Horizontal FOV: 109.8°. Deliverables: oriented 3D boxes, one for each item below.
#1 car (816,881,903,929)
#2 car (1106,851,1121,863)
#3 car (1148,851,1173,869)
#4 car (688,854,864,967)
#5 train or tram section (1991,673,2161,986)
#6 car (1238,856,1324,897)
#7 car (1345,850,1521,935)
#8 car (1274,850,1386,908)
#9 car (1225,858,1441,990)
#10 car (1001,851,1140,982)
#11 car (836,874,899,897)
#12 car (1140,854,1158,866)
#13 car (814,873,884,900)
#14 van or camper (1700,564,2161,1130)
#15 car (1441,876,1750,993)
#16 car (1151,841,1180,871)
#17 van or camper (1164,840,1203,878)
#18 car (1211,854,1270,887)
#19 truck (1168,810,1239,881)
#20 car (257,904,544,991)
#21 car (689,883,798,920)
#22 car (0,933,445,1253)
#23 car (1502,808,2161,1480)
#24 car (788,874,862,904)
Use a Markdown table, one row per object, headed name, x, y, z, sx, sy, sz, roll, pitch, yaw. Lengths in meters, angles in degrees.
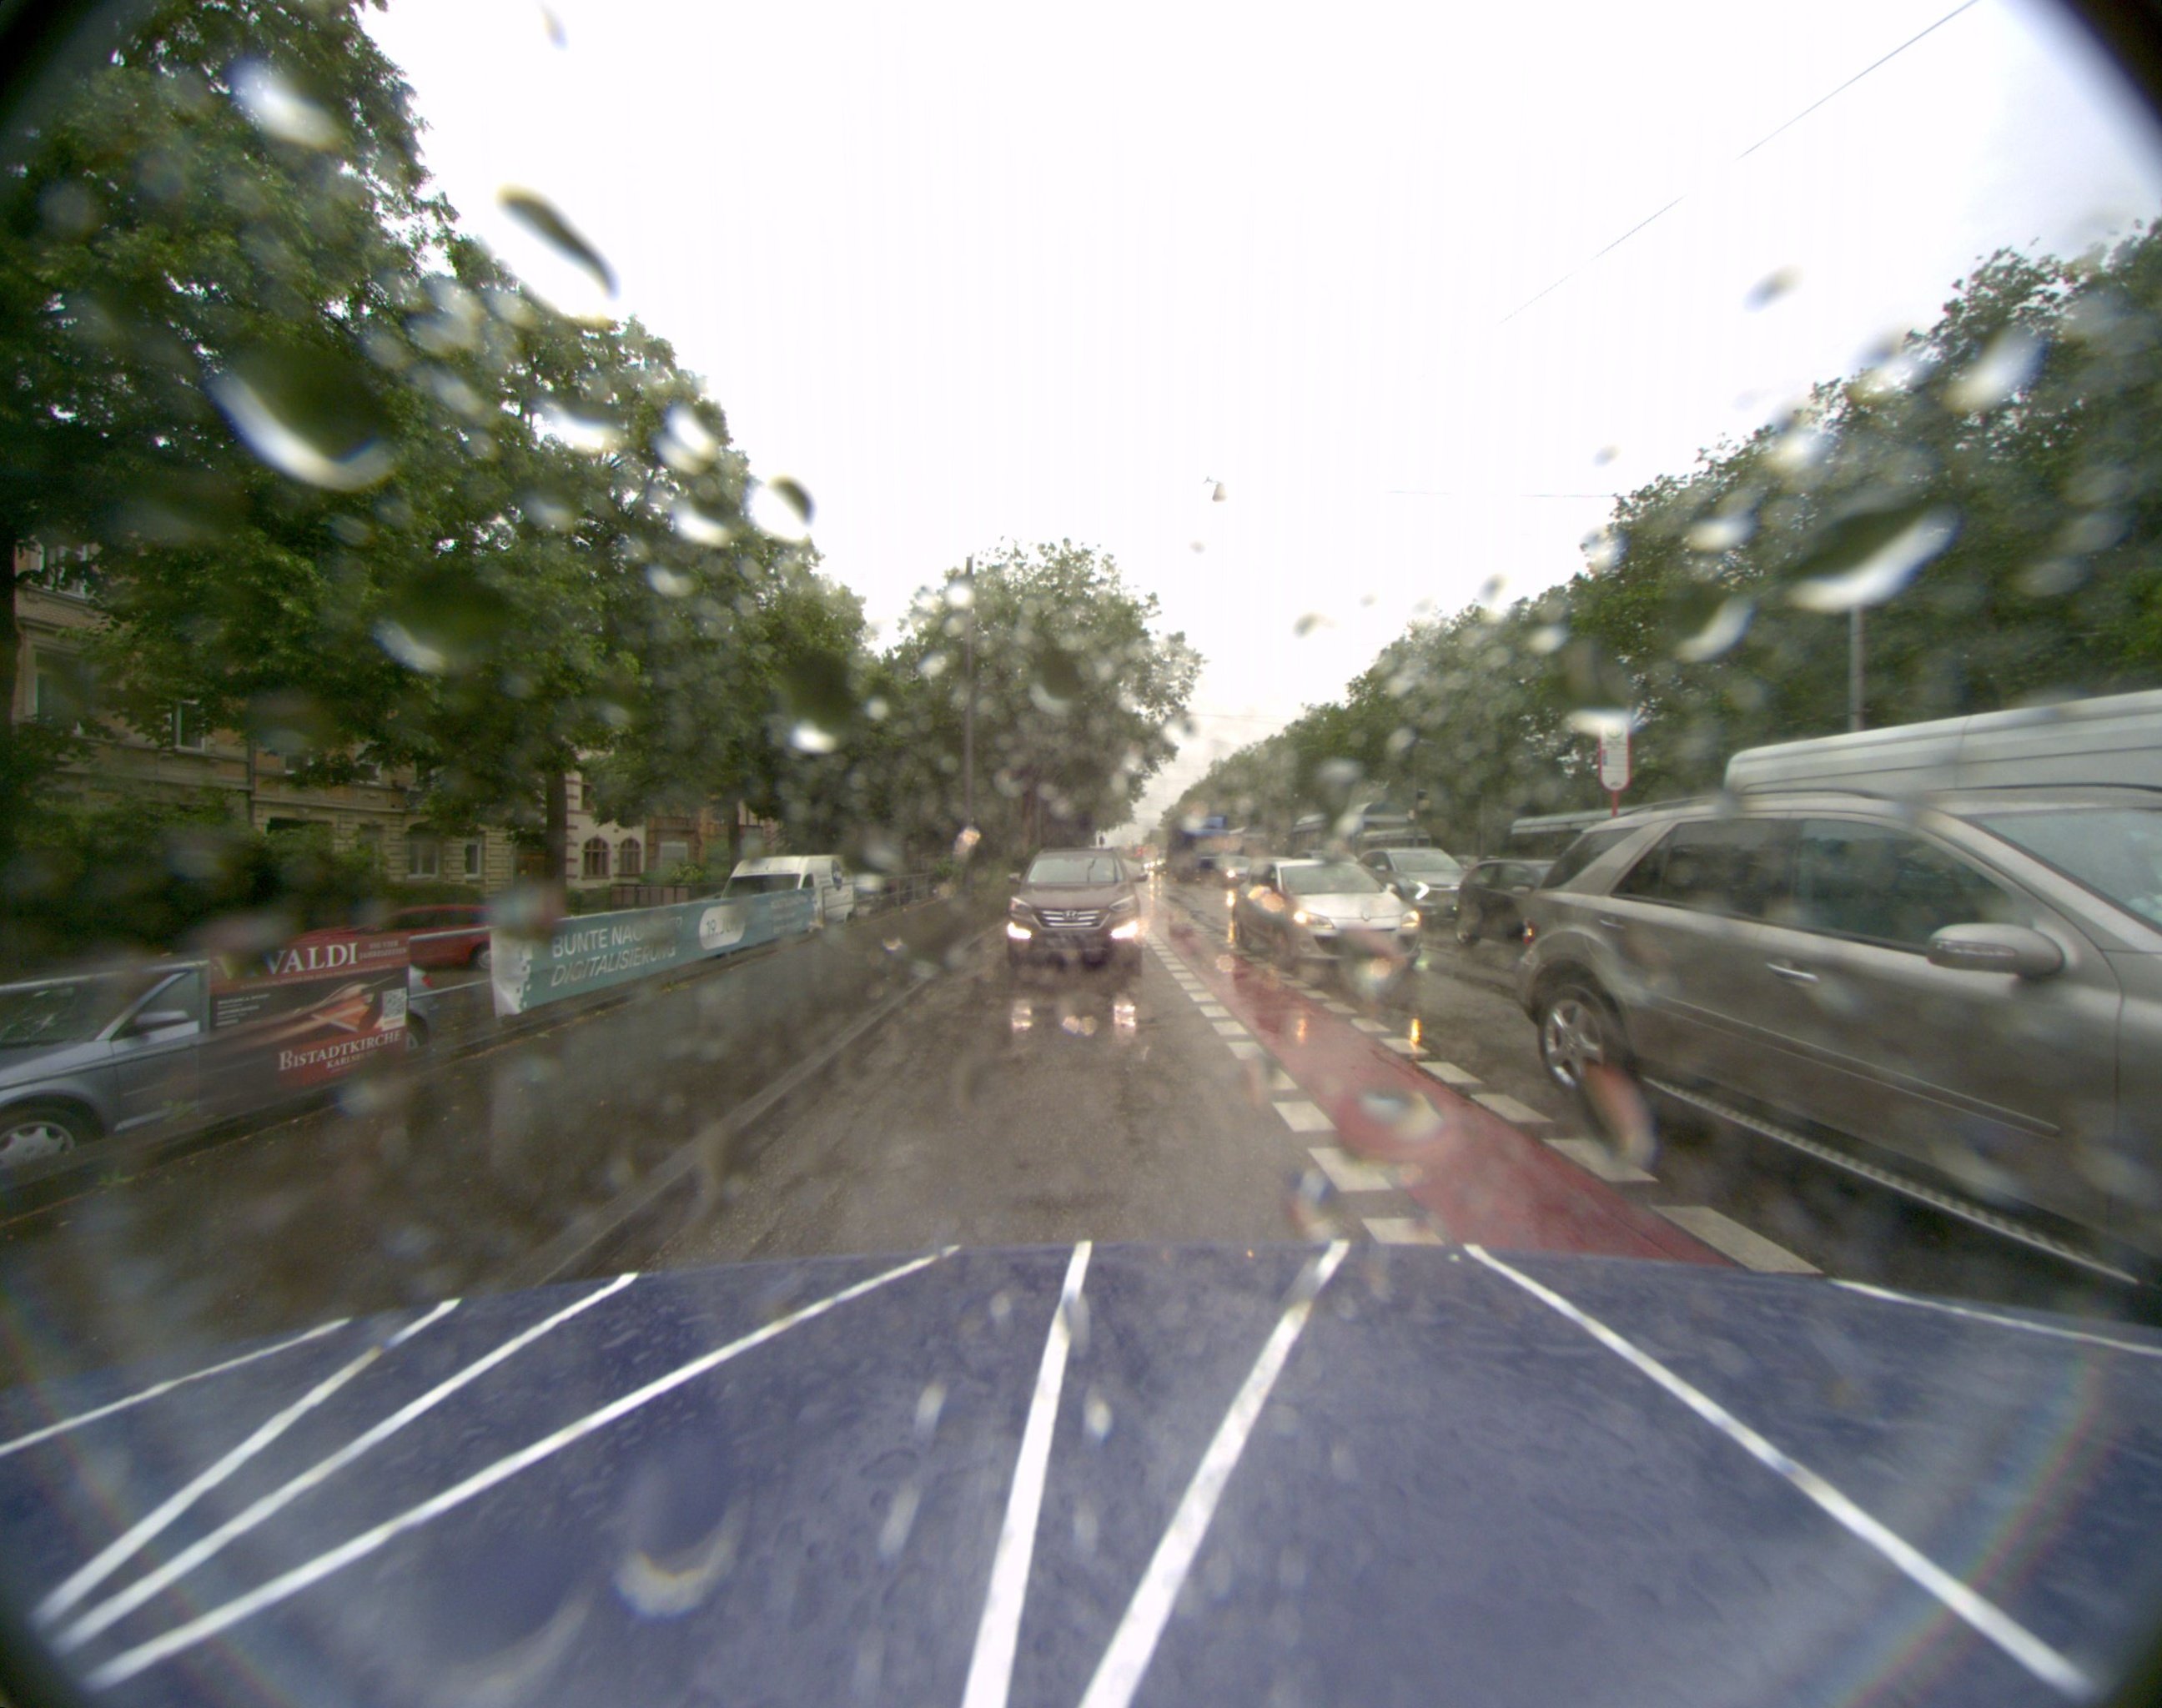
| name | x | y | z | sx | sy | sz | roll | pitch | yaw |
| --- | --- | --- | --- | --- | --- | --- | --- | --- | --- |
| car | -7.849 | 1.775 | 27.380 | 1.972 | 1.345 | 4.383 | -3 | 0 | -3 |
| car | 4.350 | 0.432 | 103.002 | 1.899 | 1.569 | 3.999 | 0 | 0 | 0 |
| car | 7.620 | 0.569 | 73.330 | 1.998 | 1.568 | 4.000 | -2 | 0 | 1 |
| car | -7.701 | 1.273 | 20.100 | 2.214 | 2.406 | 6.157 | -3 | 0 | -2 |
| train or tram section | 13.763 | -0.312 | 3.217 | 3.522 | 3.492 | 13.658 | -2 | 0 | 1 |
| car | 7.529 | 0.793 | 29.063 | 1.999 | 1.386 | 4.606 | 0 | 0 | -1 |
| car | 7.456 | 0.722 | 16.670 | 1.919 | 1.614 | 4.454 | 0 | 0 | 2 |
| car | 7.571 | 0.690 | 23.585 | 1.999 | 1.611 | 4.319 | -1 | 0 | -1 |
| car | 3.391 | 0.848 | 11.063 | 1.772 | 1.469 | 4.000 | -2 | 0 | 0 |
| car | -0.069 | 0.806 | 11.685 | 1.756 | 1.657 | 3.678 | -2 | 0 | 2 |
| car | -15.535 | 2.246 | 55.360 | 4.007 | 1.455 | 1.908 | -2 | 1 | -34 |
| car | 7.105 | 0.657 | 79.811 | 1.467 | 1.185 | 3.615 | -2 | 0 | 0 |
| car | -15.356 | 2.129 | 50.317 | 4.007 | 1.557 | 1.995 | -2 | 1 | -34 |
| van or camper | 7.048 | -0.042 | 4.346 | 2.164 | 3.123 | 5.850 | 0 | 0 | -1 |
| car | 6.675 | 0.954 | 10.466 | 1.467 | 1.111 | 4.087 | -2 | 0 | 0 |
| car | 7.269 | 0.159 | 65.731 | 1.998 | 2.412 | 5.727 | -2 | 0 | 3 |
| van or camper | 7.637 | 0.338 | 57.115 | 1.998 | 2.555 | 6.431 | -2 | 0 | 0 |
| car | 7.587 | 0.745 | 36.502 | 1.895 | 1.478 | 4.077 | -1 | 0 | -1 |
| truck | 7.219 | -0.482 | 46.351 | 2.545 | 3.866 | 9.810 | 1 | 0 | -1 |
| car | -14.623 | 1.947 | 16.744 | 4.439 | 1.444 | 1.894 | 0 | -1 | -32 |
| car | -14.856 | 2.056 | 33.504 | 4.269 | 1.372 | 1.687 | -1 | 1 | -27 |
| car | -7.232 | 1.595 | 5.544 | 1.736 | 1.530 | 4.074 | -2 | 0 | -1 |
| car | 3.819 | 0.727 | 2.793 | 2.030 | 1.760 | 4.462 | -2 | 0 | 0 |
| car | -15.718 | 2.128 | 46.668 | 4.006 | 1.599 | 1.821 | -2 | 1 | -31 |
